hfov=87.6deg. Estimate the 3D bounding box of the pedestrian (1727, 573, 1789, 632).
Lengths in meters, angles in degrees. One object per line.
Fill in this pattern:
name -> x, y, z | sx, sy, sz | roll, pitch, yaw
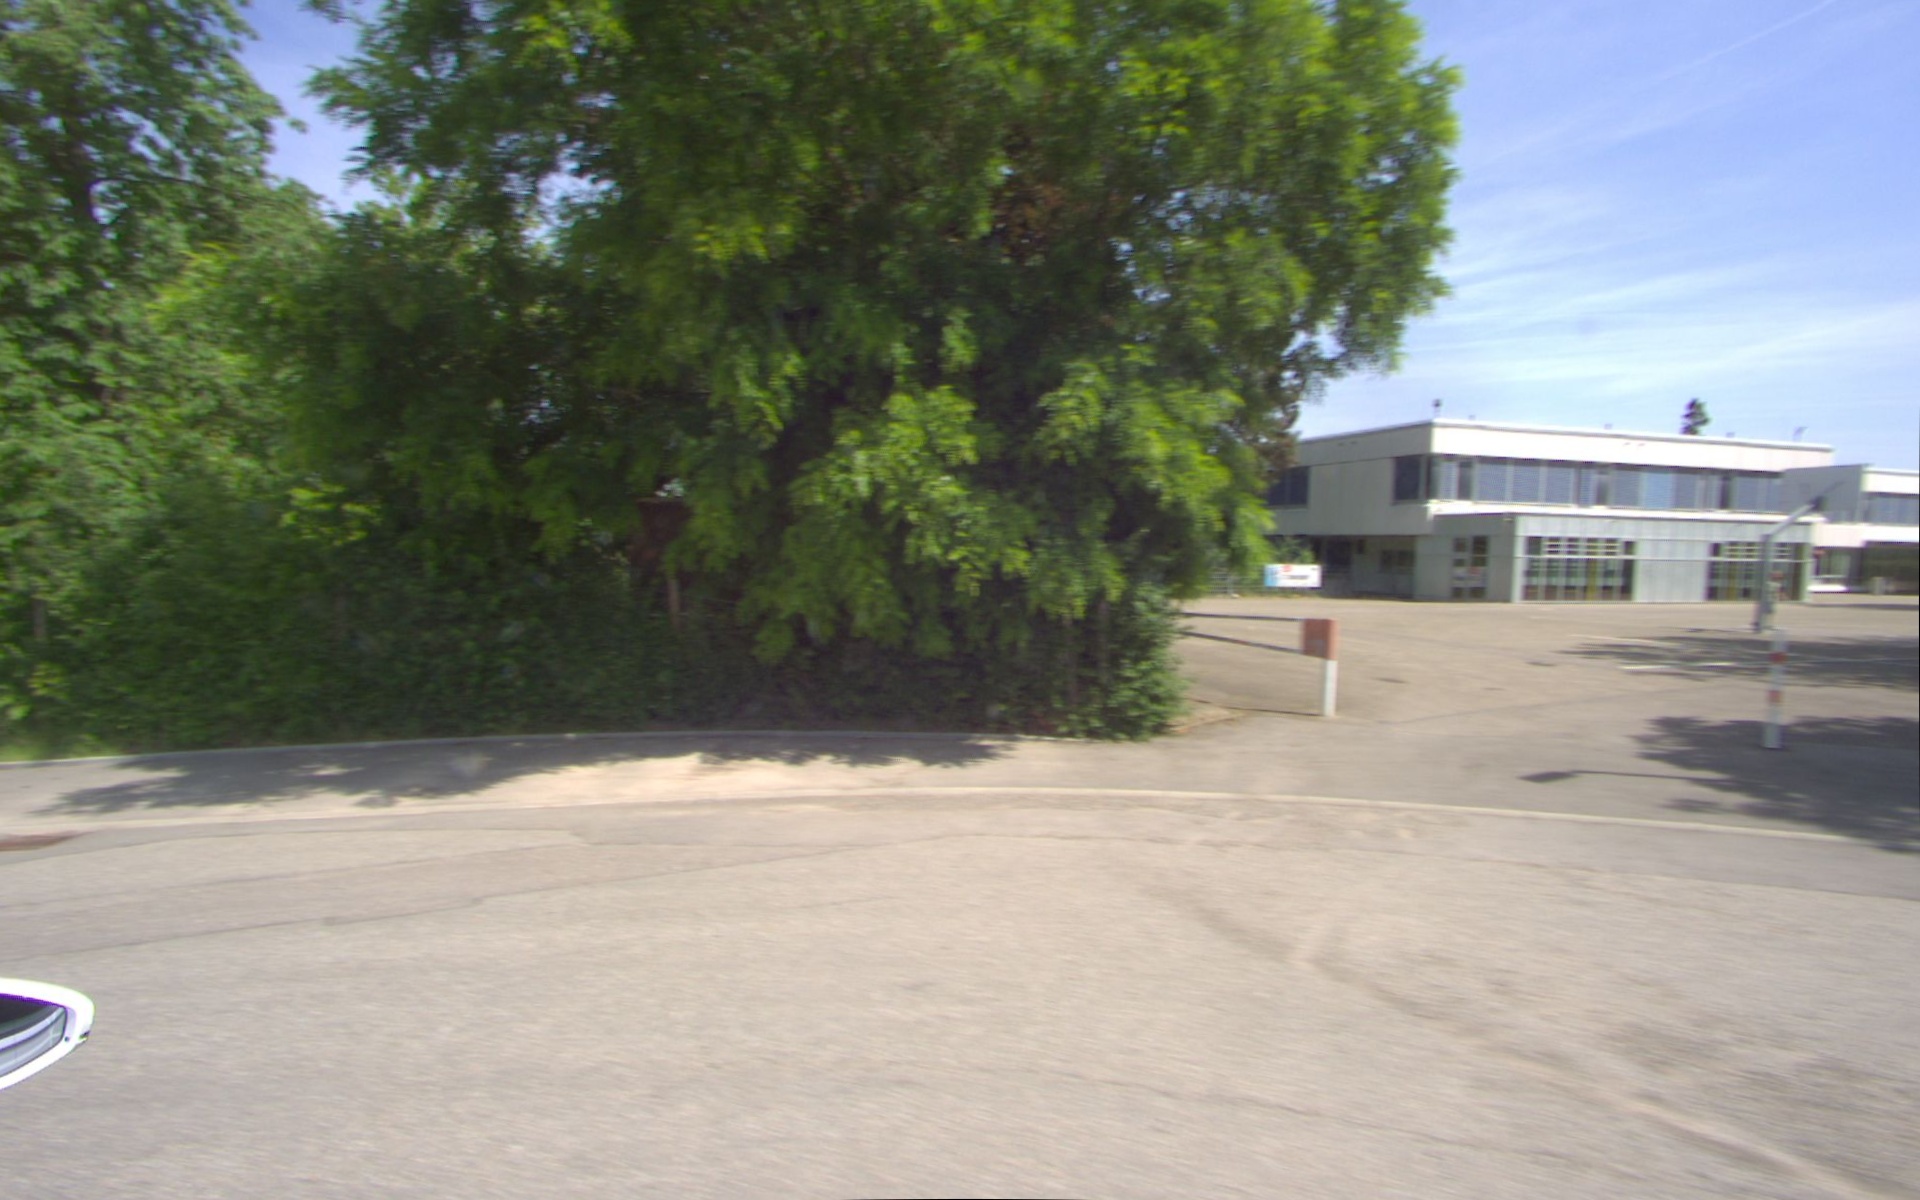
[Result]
pedestrian -> 20.465, 0.055, 25.696 | 0.910, 1.443, 1.059 | -1, 3, -42
